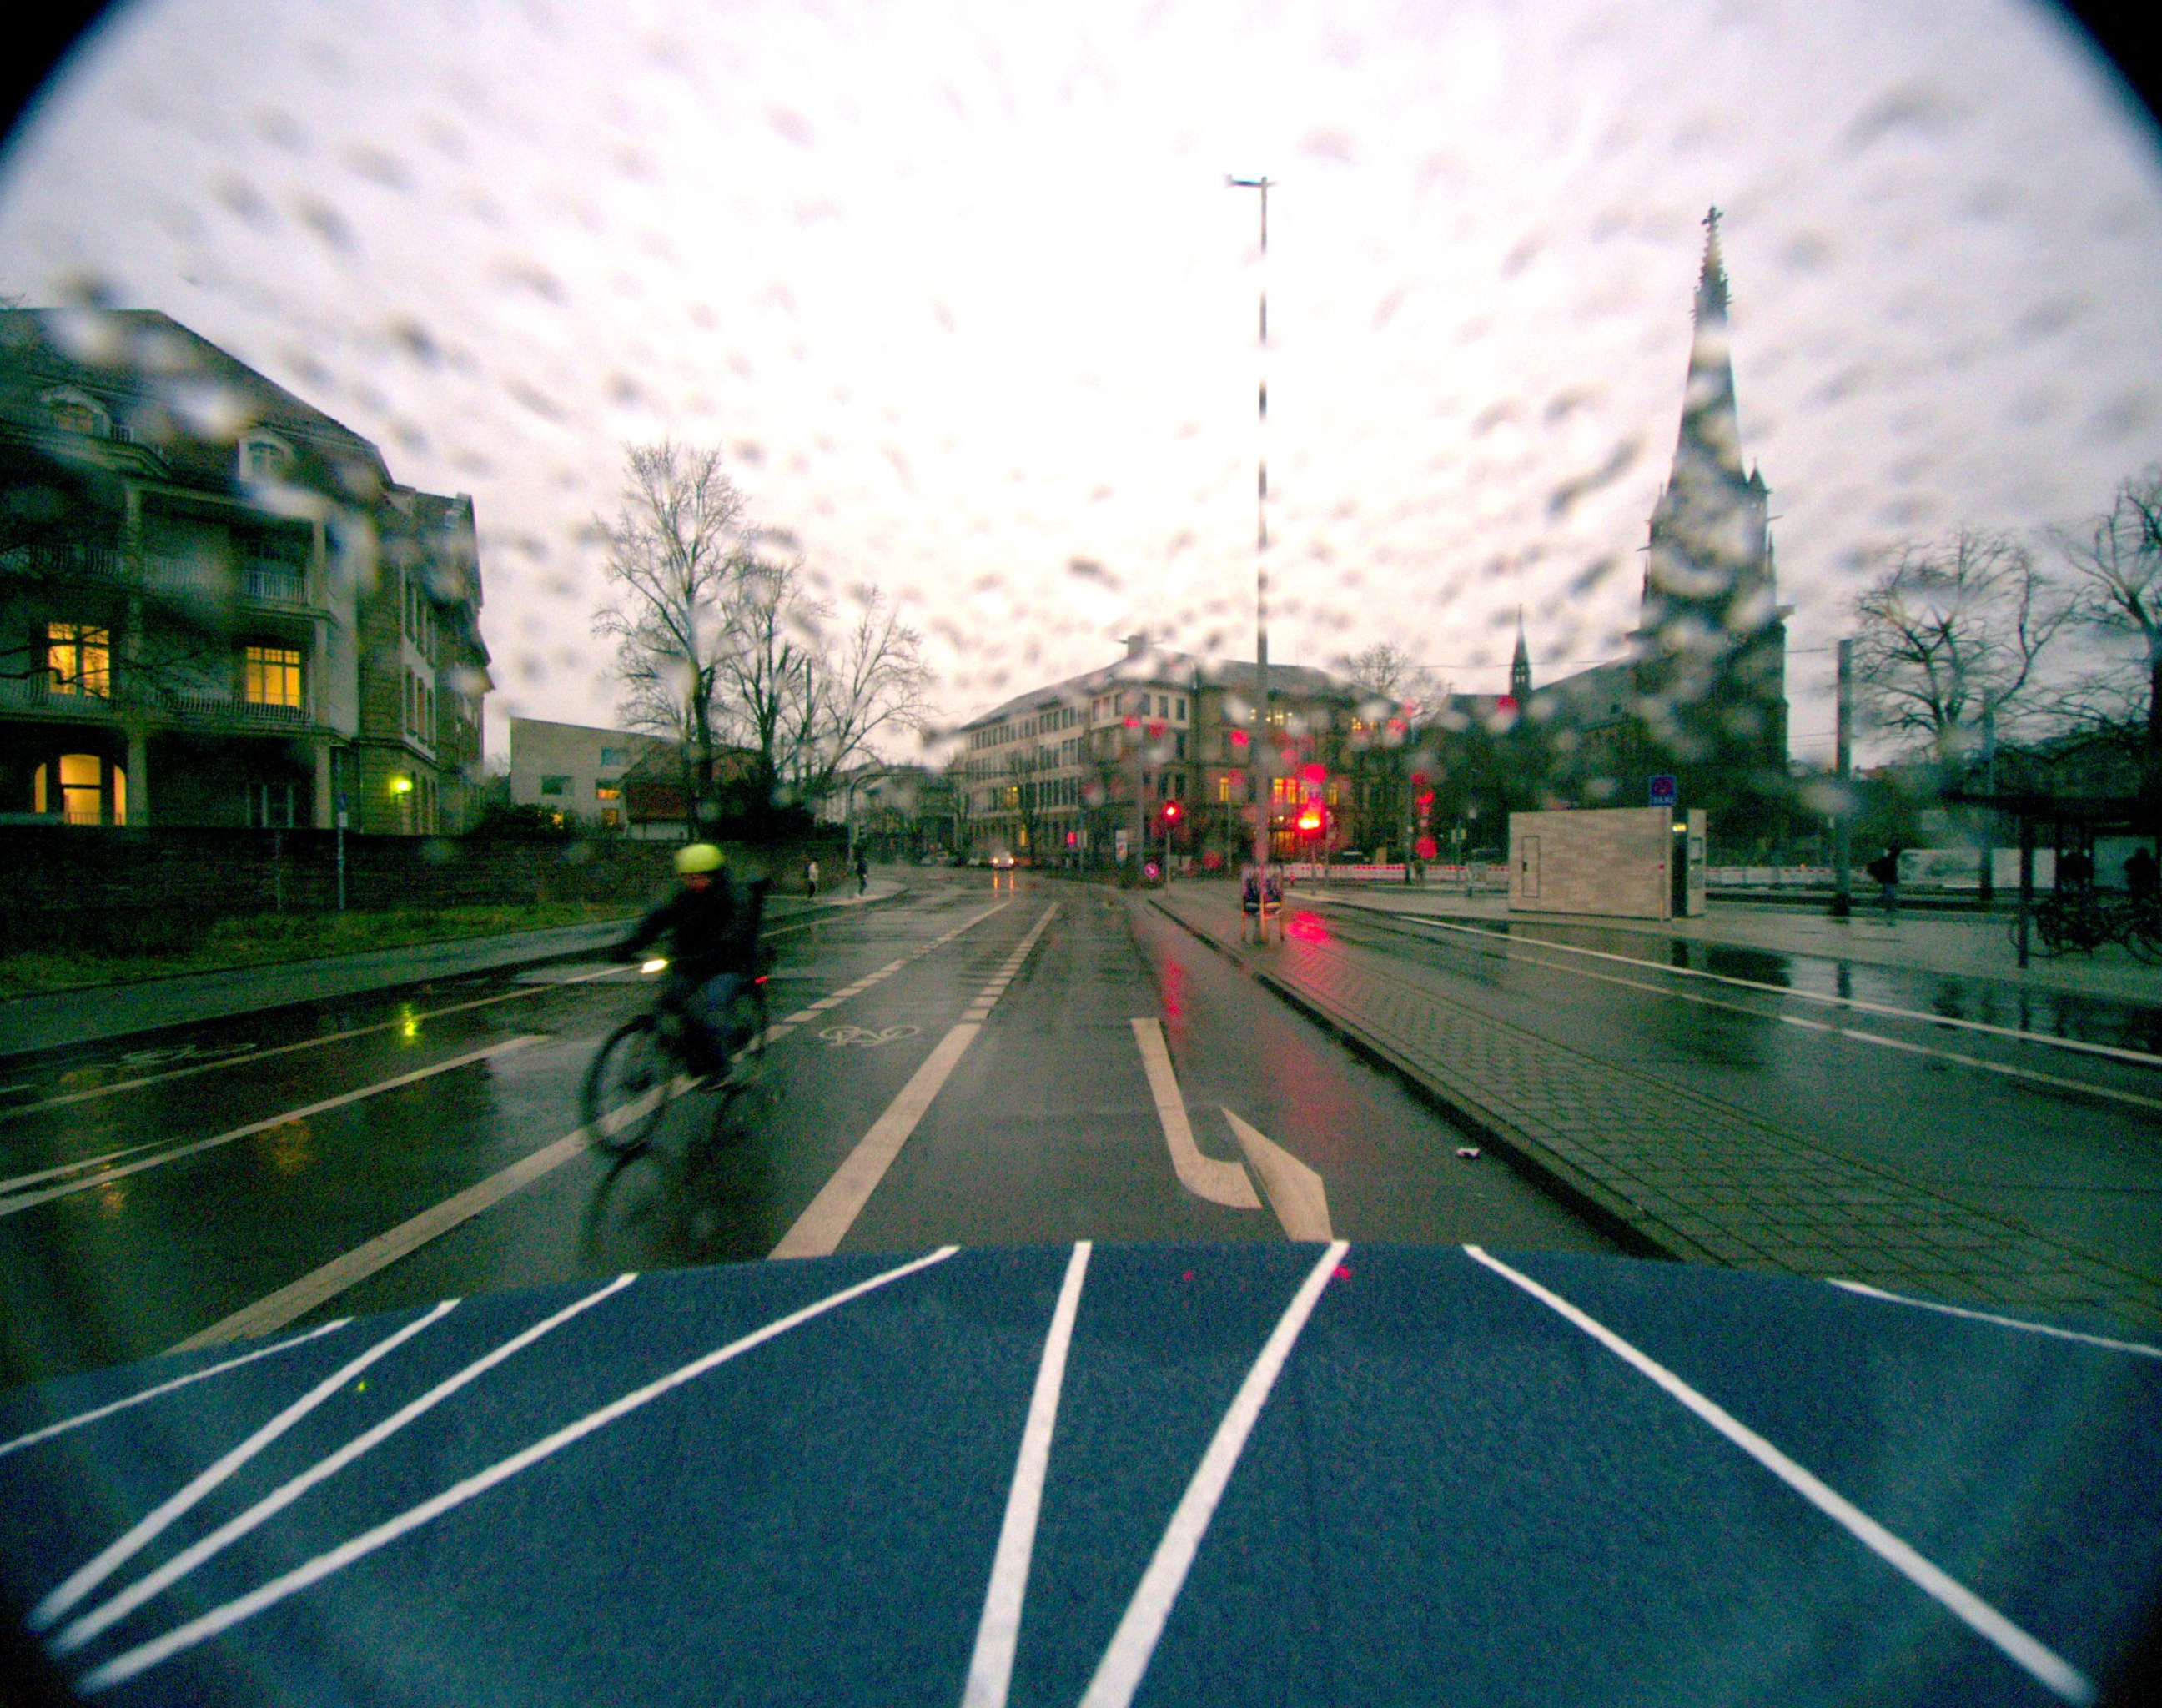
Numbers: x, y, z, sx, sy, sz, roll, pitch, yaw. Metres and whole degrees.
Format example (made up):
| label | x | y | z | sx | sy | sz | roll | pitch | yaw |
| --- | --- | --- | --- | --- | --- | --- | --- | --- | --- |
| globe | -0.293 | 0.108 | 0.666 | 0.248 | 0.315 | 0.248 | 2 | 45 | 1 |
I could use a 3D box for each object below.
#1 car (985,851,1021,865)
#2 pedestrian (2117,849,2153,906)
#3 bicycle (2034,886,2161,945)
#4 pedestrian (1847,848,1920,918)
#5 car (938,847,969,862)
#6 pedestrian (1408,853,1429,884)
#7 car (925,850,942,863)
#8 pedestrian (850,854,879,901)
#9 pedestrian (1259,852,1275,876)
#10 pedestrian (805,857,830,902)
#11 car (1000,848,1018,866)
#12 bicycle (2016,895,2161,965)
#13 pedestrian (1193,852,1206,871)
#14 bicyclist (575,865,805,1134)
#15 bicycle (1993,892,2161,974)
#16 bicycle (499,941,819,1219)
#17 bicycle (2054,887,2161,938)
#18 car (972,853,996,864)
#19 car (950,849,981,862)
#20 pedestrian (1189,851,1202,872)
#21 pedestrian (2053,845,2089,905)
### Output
| label | x | y | z | sx | sy | sz | roll | pitch | yaw |
| --- | --- | --- | --- | --- | --- | --- | --- | --- | --- |
| car | -9.280 | 0.485 | 90.534 | 1.797 | 1.541 | 4.007 | -1 | 1 | 45 |
| pedestrian | 31.047 | 0.692 | 22.384 | 0.541 | 1.642 | 0.562 | -3 | 2 | -41 |
| bicycle | 19.691 | 1.167 | 14.425 | 0.475 | 0.980 | 1.921 | -2 | 2 | -30 |
| pedestrian | 20.834 | 0.736 | 19.736 | 1.013 | 1.754 | 1.065 | 1 | 0 | -30 |
| car | -16.996 | 0.080 | 101.470 | 2.043 | 1.889 | 4.007 | -2 | 1 | 28 |
| pedestrian | 18.576 | 0.807 | 41.813 | 0.771 | 1.651 | 1.210 | -1 | 1 | 36 |
| car | -20.736 | 0.376 | 106.844 | 2.000 | 1.660 | 3.997 | -2 | 1 | -7 |
| pedestrian | -8.891 | 0.945 | 31.268 | 0.999 | 1.890 | 0.674 | 1 | 1 | -1 |
| pedestrian | 14.697 | 0.807 | 60.121 | 0.675 | 1.890 | 0.971 | 0 | 2 | -42 |
| pedestrian | -10.388 | 0.990 | 29.926 | 0.799 | 1.713 | 0.673 | 1 | 1 | -7 |
| car | -7.794 | 0.329 | 82.532 | 1.883 | 1.835 | 3.998 | -2 | 1 | -4 |
| bicycle | 16.616 | 1.212 | 12.214 | 0.475 | 0.980 | 1.921 | -2 | 2 | -30 |
| pedestrian | 10.827 | 0.665 | 69.437 | 0.829 | 1.714 | 0.926 | 0 | 0 | -37 |
| bicyclist | -2.381 | 0.824 | 4.797 | 0.785 | 1.444 | 1.134 | -2 | 1 | 1 |
| bicycle | 15.498 | 1.179 | 11.609 | 0.475 | 1.064 | 1.921 | -2 | 2 | -30 |
| bicycle | -2.361 | 1.200 | 4.623 | 0.785 | 1.069 | 1.957 | -2 | 1 | 1 |
| bicycle | 20.812 | 1.161 | 14.995 | 0.475 | 0.905 | 1.921 | -2 | 2 | -30 |
| car | -12.135 | 0.579 | 95.306 | 1.706 | 1.298 | 3.647 | -2 | 1 | 16 |
| car | -15.091 | 0.204 | 99.404 | 1.797 | 1.541 | 4.007 | -2 | 1 | 28 |
| pedestrian | 9.890 | 0.682 | 65.836 | 0.675 | 1.806 | 0.895 | 0 | 1 | -33 |
| pedestrian | 30.235 | 0.642 | 23.213 | 0.673 | 1.785 | 0.626 | -3 | 2 | -41 |
